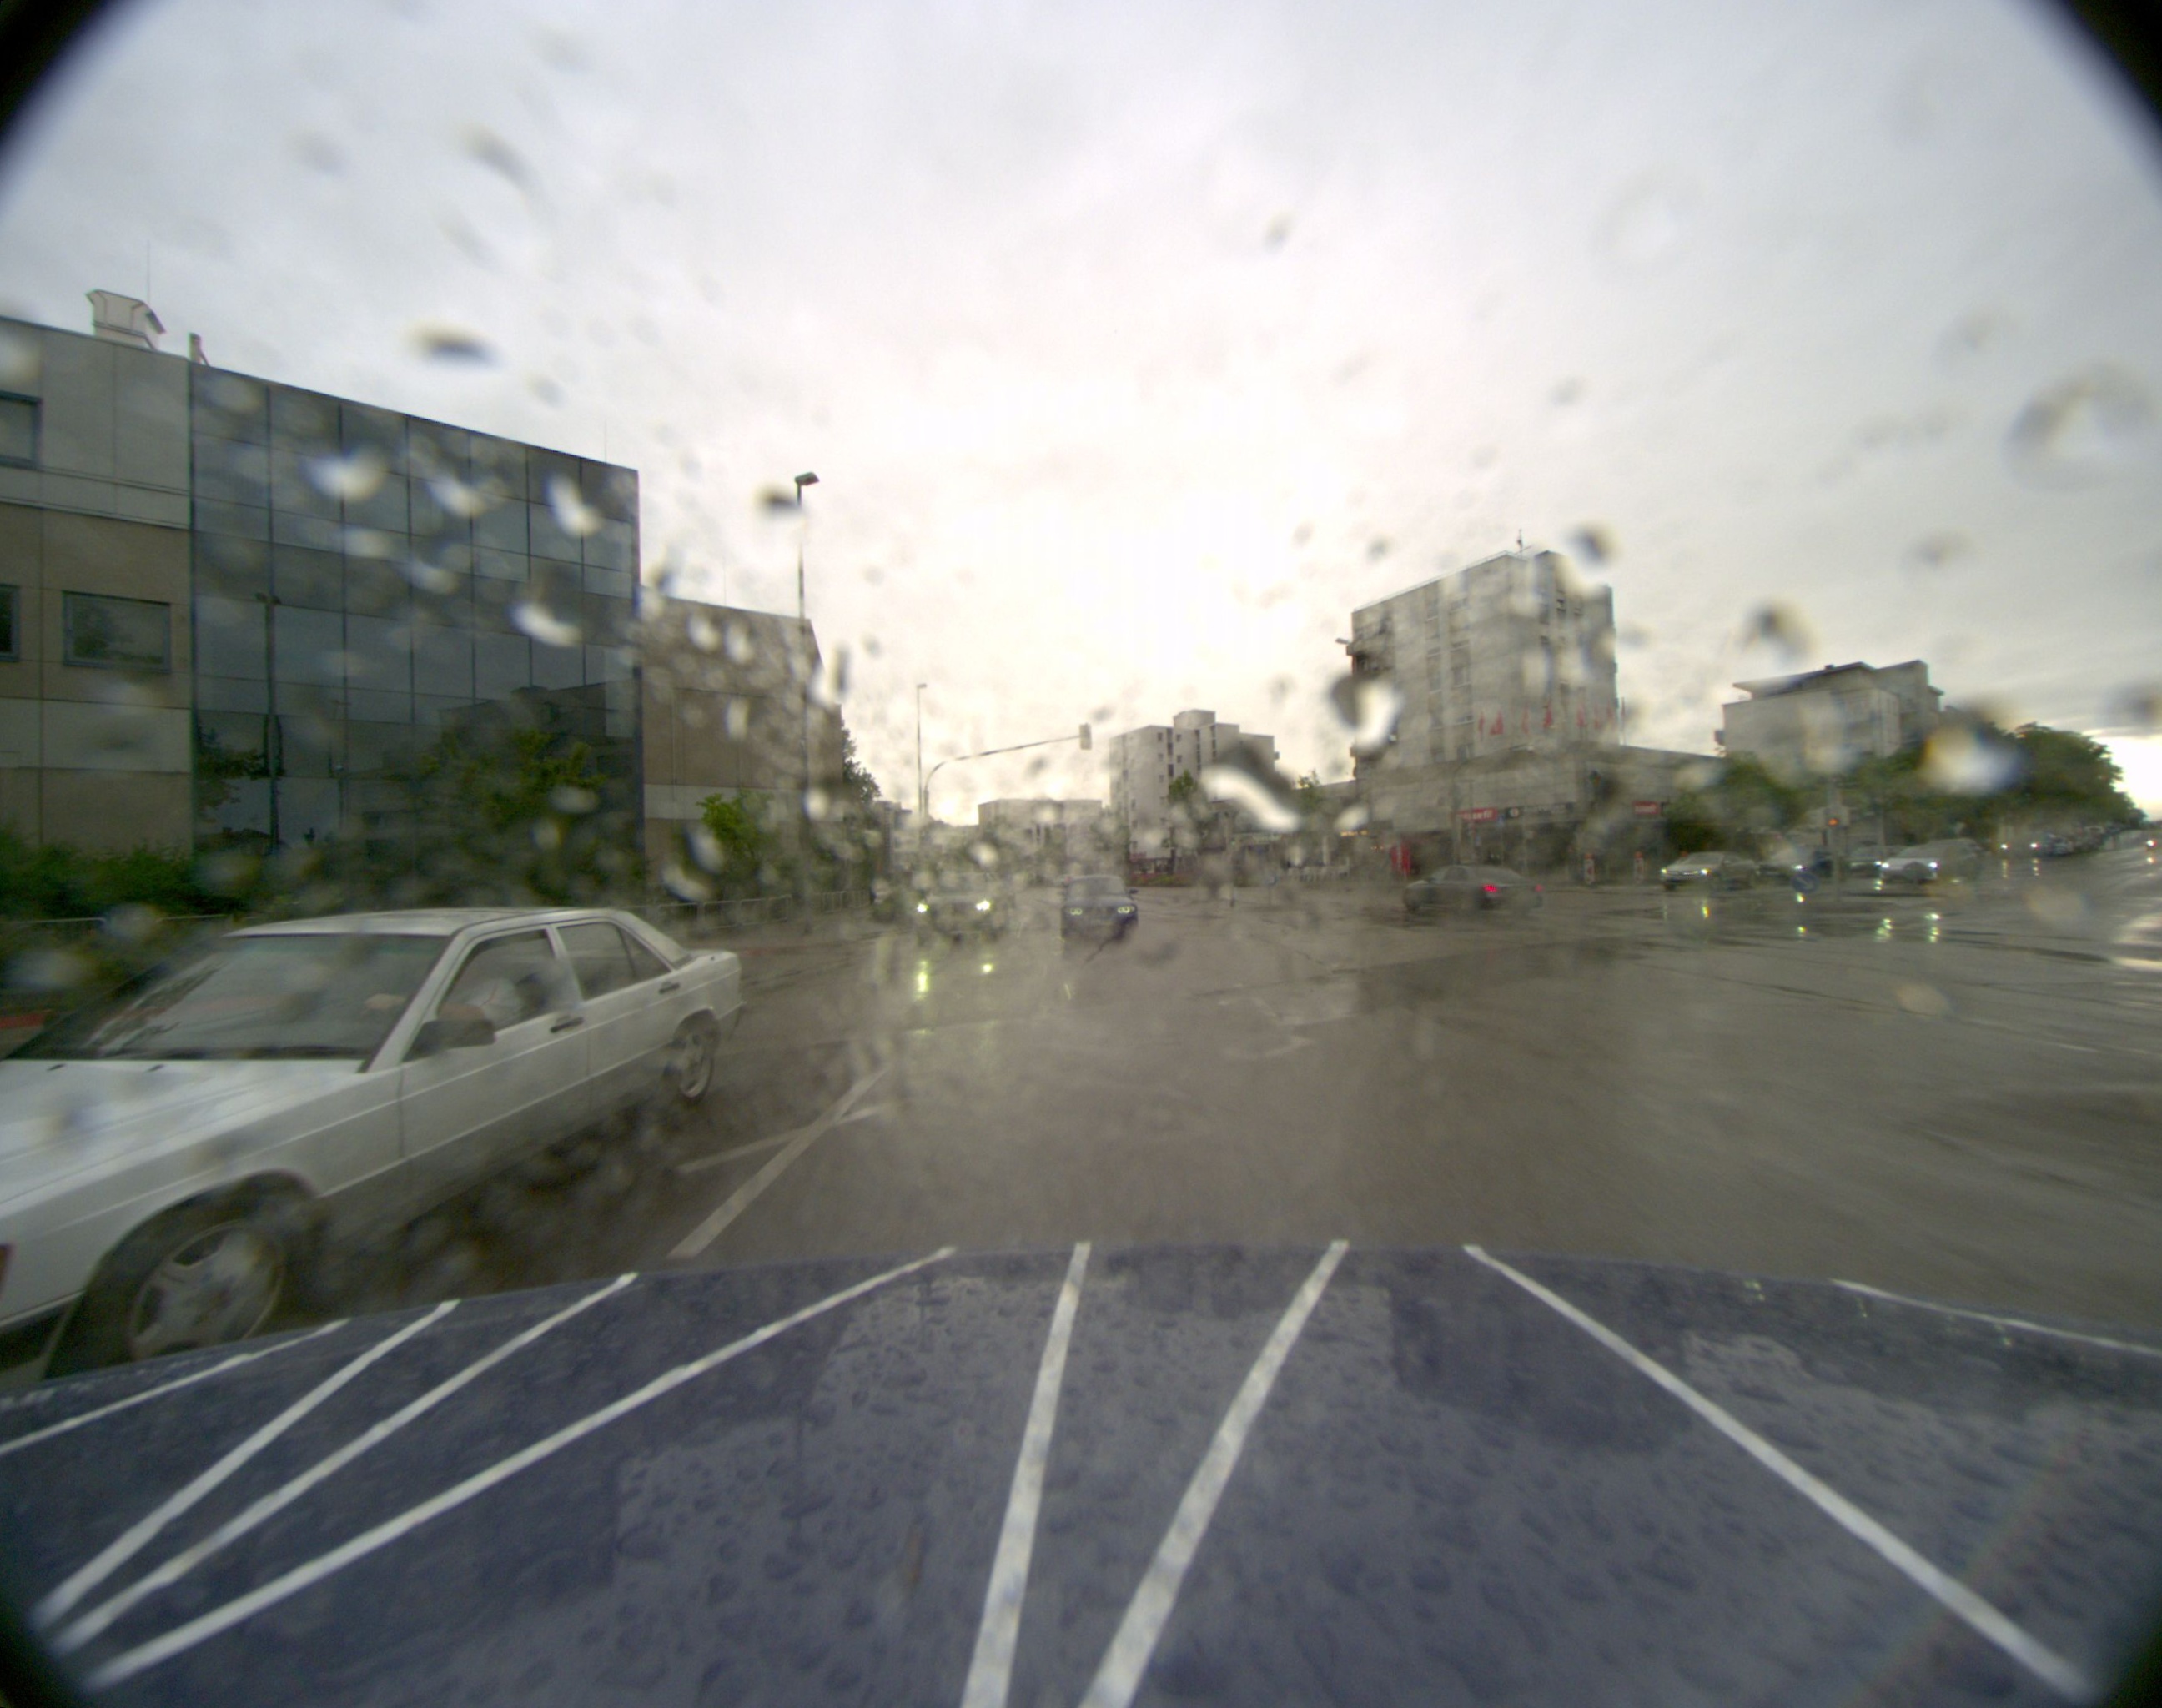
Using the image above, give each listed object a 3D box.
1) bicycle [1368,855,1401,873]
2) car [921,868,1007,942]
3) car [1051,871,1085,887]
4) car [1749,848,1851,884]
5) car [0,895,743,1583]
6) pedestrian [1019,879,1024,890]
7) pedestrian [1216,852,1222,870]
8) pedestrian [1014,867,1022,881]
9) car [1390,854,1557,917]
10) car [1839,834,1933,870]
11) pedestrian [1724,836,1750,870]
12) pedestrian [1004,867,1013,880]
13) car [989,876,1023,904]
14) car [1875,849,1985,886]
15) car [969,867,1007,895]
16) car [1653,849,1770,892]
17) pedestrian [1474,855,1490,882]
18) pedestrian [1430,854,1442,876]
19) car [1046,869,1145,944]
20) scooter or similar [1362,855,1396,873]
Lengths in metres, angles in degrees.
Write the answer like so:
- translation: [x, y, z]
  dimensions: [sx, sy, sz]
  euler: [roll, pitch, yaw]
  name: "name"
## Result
- translation: [22.393, 0.733, 56.036]
  dimensions: [2.557, 1.215, 0.695]
  euler: [-2, -1, -27]
  name: "bicycle"
- translation: [-3.075, 1.246, 19.805]
  dimensions: [1.907, 1.611, 4.333]
  euler: [-2, -1, -10]
  name: "car"
- translation: [-1.483, 2.767, 84.738]
  dimensions: [1.894, 1.672, 4.497]
  euler: [-2, -1, -27]
  name: "car"
- translation: [32.209, 0.539, 34.062]
  dimensions: [4.063, 1.411, 1.867]
  euler: [-2, -1, -24]
  name: "car"
- translation: [-3.373, 1.035, 3.461]
  dimensions: [1.638, 1.440, 4.269]
  euler: [-1, 0, 2]
  name: "car"
- translation: [-9.537, 4.890, 121.316]
  dimensions: [0.550, 1.739, 0.679]
  euler: [-2, -2, -28]
  name: "pedestrian"
- translation: [14.015, 0.708, 77.177]
  dimensions: [0.427, 1.837, 0.500]
  euler: [-2, -1, -20]
  name: "pedestrian"
- translation: [-9.807, 3.088, 117.957]
  dimensions: [0.907, 2.001, 0.976]
  euler: [-2, -2, -31]
  name: "pedestrian"
- translation: [11.367, 0.839, 22.499]
  dimensions: [1.926, 1.622, 4.899]
  euler: [0, 0, -8]
  name: "car"
- translation: [39.085, -0.092, 36.902]
  dimensions: [4.005, 1.585, 1.867]
  euler: [-2, -1, -24]
  name: "car"
- translation: [37.305, -0.051, 43.198]
  dimensions: [0.720, 1.882, 0.808]
  euler: [-1, -1, -12]
  name: "pedestrian"
- translation: [-11.159, 3.040, 117.145]
  dimensions: [0.907, 2.001, 0.976]
  euler: [-2, -2, -31]
  name: "pedestrian"
- translation: [-4.079, 1.907, 40.870]
  dimensions: [1.637, 1.377, 4.513]
  euler: [-3, -1, -7]
  name: "car"
- translation: [35.283, 0.566, 31.582]
  dimensions: [4.063, 1.411, 1.770]
  euler: [-1, -2, -23]
  name: "car"
- translation: [-6.837, 1.926, 55.488]
  dimensions: [2.003, 1.882, 4.582]
  euler: [-2, -1, -15]
  name: "car"
- translation: [26.009, 0.660, 31.362]
  dimensions: [4.210, 1.586, 1.867]
  euler: [-1, 0, -20]
  name: "car"
- translation: [26.191, 0.970, 49.654]
  dimensions: [0.714, 1.681, 0.658]
  euler: [-6, -5, 24]
  name: "pedestrian"
- translation: [22.671, 0.712, 48.544]
  dimensions: [0.497, 1.340, 0.537]
  euler: [-2, 0, 3]
  name: "pedestrian"
- translation: [0.234, 1.206, 18.310]
  dimensions: [1.677, 1.533, 3.912]
  euler: [-2, -2, -9]
  name: "car"
- translation: [21.145, 0.727, 53.896]
  dimensions: [2.597, 1.167, 0.642]
  euler: [-2, -1, -28]
  name: "scooter or similar"
